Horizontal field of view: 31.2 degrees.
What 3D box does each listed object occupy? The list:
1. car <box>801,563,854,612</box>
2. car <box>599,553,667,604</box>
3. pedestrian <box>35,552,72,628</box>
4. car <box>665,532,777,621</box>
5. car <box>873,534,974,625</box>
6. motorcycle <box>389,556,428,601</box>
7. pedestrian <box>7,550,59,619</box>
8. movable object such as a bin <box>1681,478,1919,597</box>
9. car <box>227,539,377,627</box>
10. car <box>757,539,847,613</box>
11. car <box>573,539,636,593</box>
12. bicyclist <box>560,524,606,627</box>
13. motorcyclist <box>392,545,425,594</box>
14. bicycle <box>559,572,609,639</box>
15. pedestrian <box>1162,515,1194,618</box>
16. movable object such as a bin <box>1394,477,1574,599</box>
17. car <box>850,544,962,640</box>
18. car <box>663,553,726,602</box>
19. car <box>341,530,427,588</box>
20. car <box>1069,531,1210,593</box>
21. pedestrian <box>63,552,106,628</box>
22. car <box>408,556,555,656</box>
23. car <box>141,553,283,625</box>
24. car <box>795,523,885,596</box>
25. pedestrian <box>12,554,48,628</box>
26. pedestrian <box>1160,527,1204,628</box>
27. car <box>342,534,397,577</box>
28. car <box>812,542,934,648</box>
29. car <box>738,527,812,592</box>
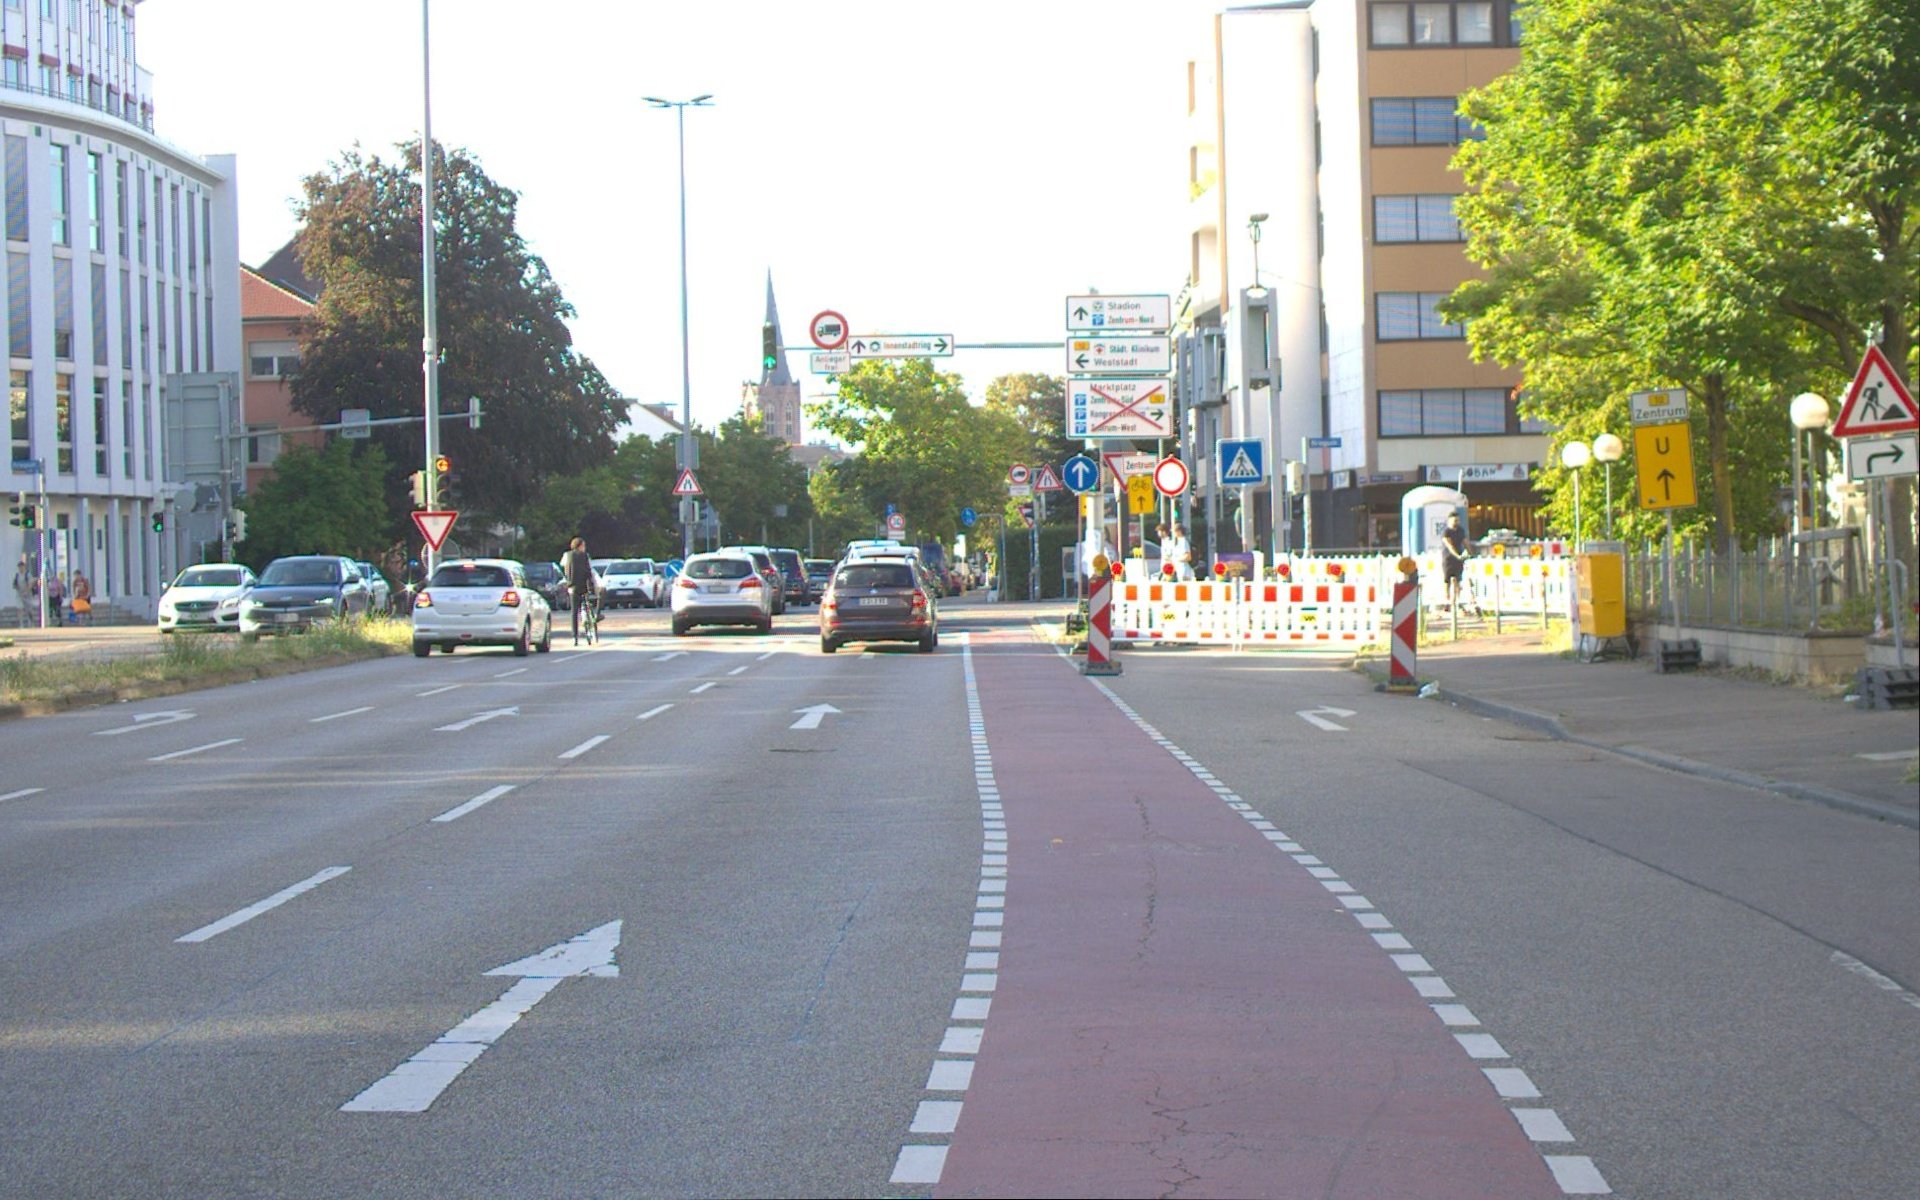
[{"bbox_3d":[-4.672,-0.450,121.884,1.664,1.652,4.000,-1,1,0],"label":"car"},{"bbox_3d":[-9.822,-0.659,103.541,1.847,1.456,4.050,-1,1,-3],"label":"car"},{"bbox_3d":[-22.585,-0.253,85.663,0.660,1.862,0.778,-1,1,0],"label":"pedestrian"},{"bbox_3d":[-4.410,-0.448,63.840,1.748,1.559,4.050,-1,1,0],"label":"car"},{"bbox_3d":[-0.715,-0.410,65.344,1.819,1.634,4.000,-1,1,-1],"label":"car"},{"bbox_3d":[-16.191,-0.642,101.004,0.770,1.280,2.843,-1,1,-2],"label":"motorcycle"},{"bbox_3d":[-27.144,-0.456,100.657,1.092,2.007,1.035,-1,1,10],"label":"pedestrian"},{"bbox_3d":[18.957,-1.394,76.063,5.349,2.481,2.549,-1,1,-3],"label":"movable object such as a bin"},{"bbox_3d":[-12.525,-0.343,65.725,1.993,1.573,4.899,-1,1,-1],"label":"car"},{"bbox_3d":[-3.479,-0.556,76.240,1.748,1.559,4.050,-1,1,0],"label":"car"},{"bbox_3d":[-12.367,-1.199,119.871,1.915,1.805,4.718,-1,1,-3],"label":"car"},{"bbox_3d":[-6.392,-0.413,58.361,0.691,1.722,0.988,-1,1,-3],"label":"bicyclist"},{"bbox_3d":[-16.222,-0.907,101.127,0.770,1.414,1.238,-1,1,-2],"label":"motorcyclist"},{"bbox_3d":[-6.374,0.083,58.320,0.699,1.096,2.258,-1,1,-3],"label":"bicycle"},{"bbox_3d":[3.963,-0.609,62.393,0.520,1.862,0.614,-1,1,5],"label":"pedestrian"},{"bbox_3d":[10.560,-1.245,69.387,3.328,2.375,1.529,-1,1,-1],"label":"movable object such as a bin"},{"bbox_3d":[-0.909,-0.164,60.074,1.728,1.573,3.723,-1,1,2],"label":"car"},{"bbox_3d":[-8.407,-0.728,108.968,1.847,1.456,4.050,-1,1,-3],"label":"car"},{"bbox_3d":[-15.586,-1.115,93.233,1.685,1.493,4.515,-1,1,-2],"label":"car"},{"bbox_3d":[5.799,-1.230,111.497,4.363,1.871,2.000,-1,1,-1],"label":"car"},{"bbox_3d":[-21.830,-0.260,85.712,0.627,1.862,1.127,-1,1,8],"label":"pedestrian"},{"bbox_3d":[-7.385,0.068,53.388,1.685,1.452,4.000,-1,1,0],"label":"car"},{"bbox_3d":[-16.099,-0.259,74.213,1.993,1.408,4.443,-2,1,1],"label":"car"},{"bbox_3d":[-2.799,-0.939,80.996,1.993,1.503,4.000,-3,-1,-1],"label":"car"},{"bbox_3d":[-23.406,-0.221,86.522,0.758,1.836,0.818,-1,1,-10],"label":"pedestrian"},{"bbox_3d":[3.982,-0.407,61.664,0.741,1.793,0.715,-1,1,4],"label":"pedestrian"},{"bbox_3d":[-22.137,-1.664,128.976,1.840,1.566,4.001,-1,1,-7],"label":"car"},{"bbox_3d":[-1.324,-0.102,53.803,1.748,1.559,4.050,-1,1,0],"label":"car"},{"bbox_3d":[-4.834,-1.066,90.229,1.664,1.652,4.000,-1,1,0],"label":"car"}]
